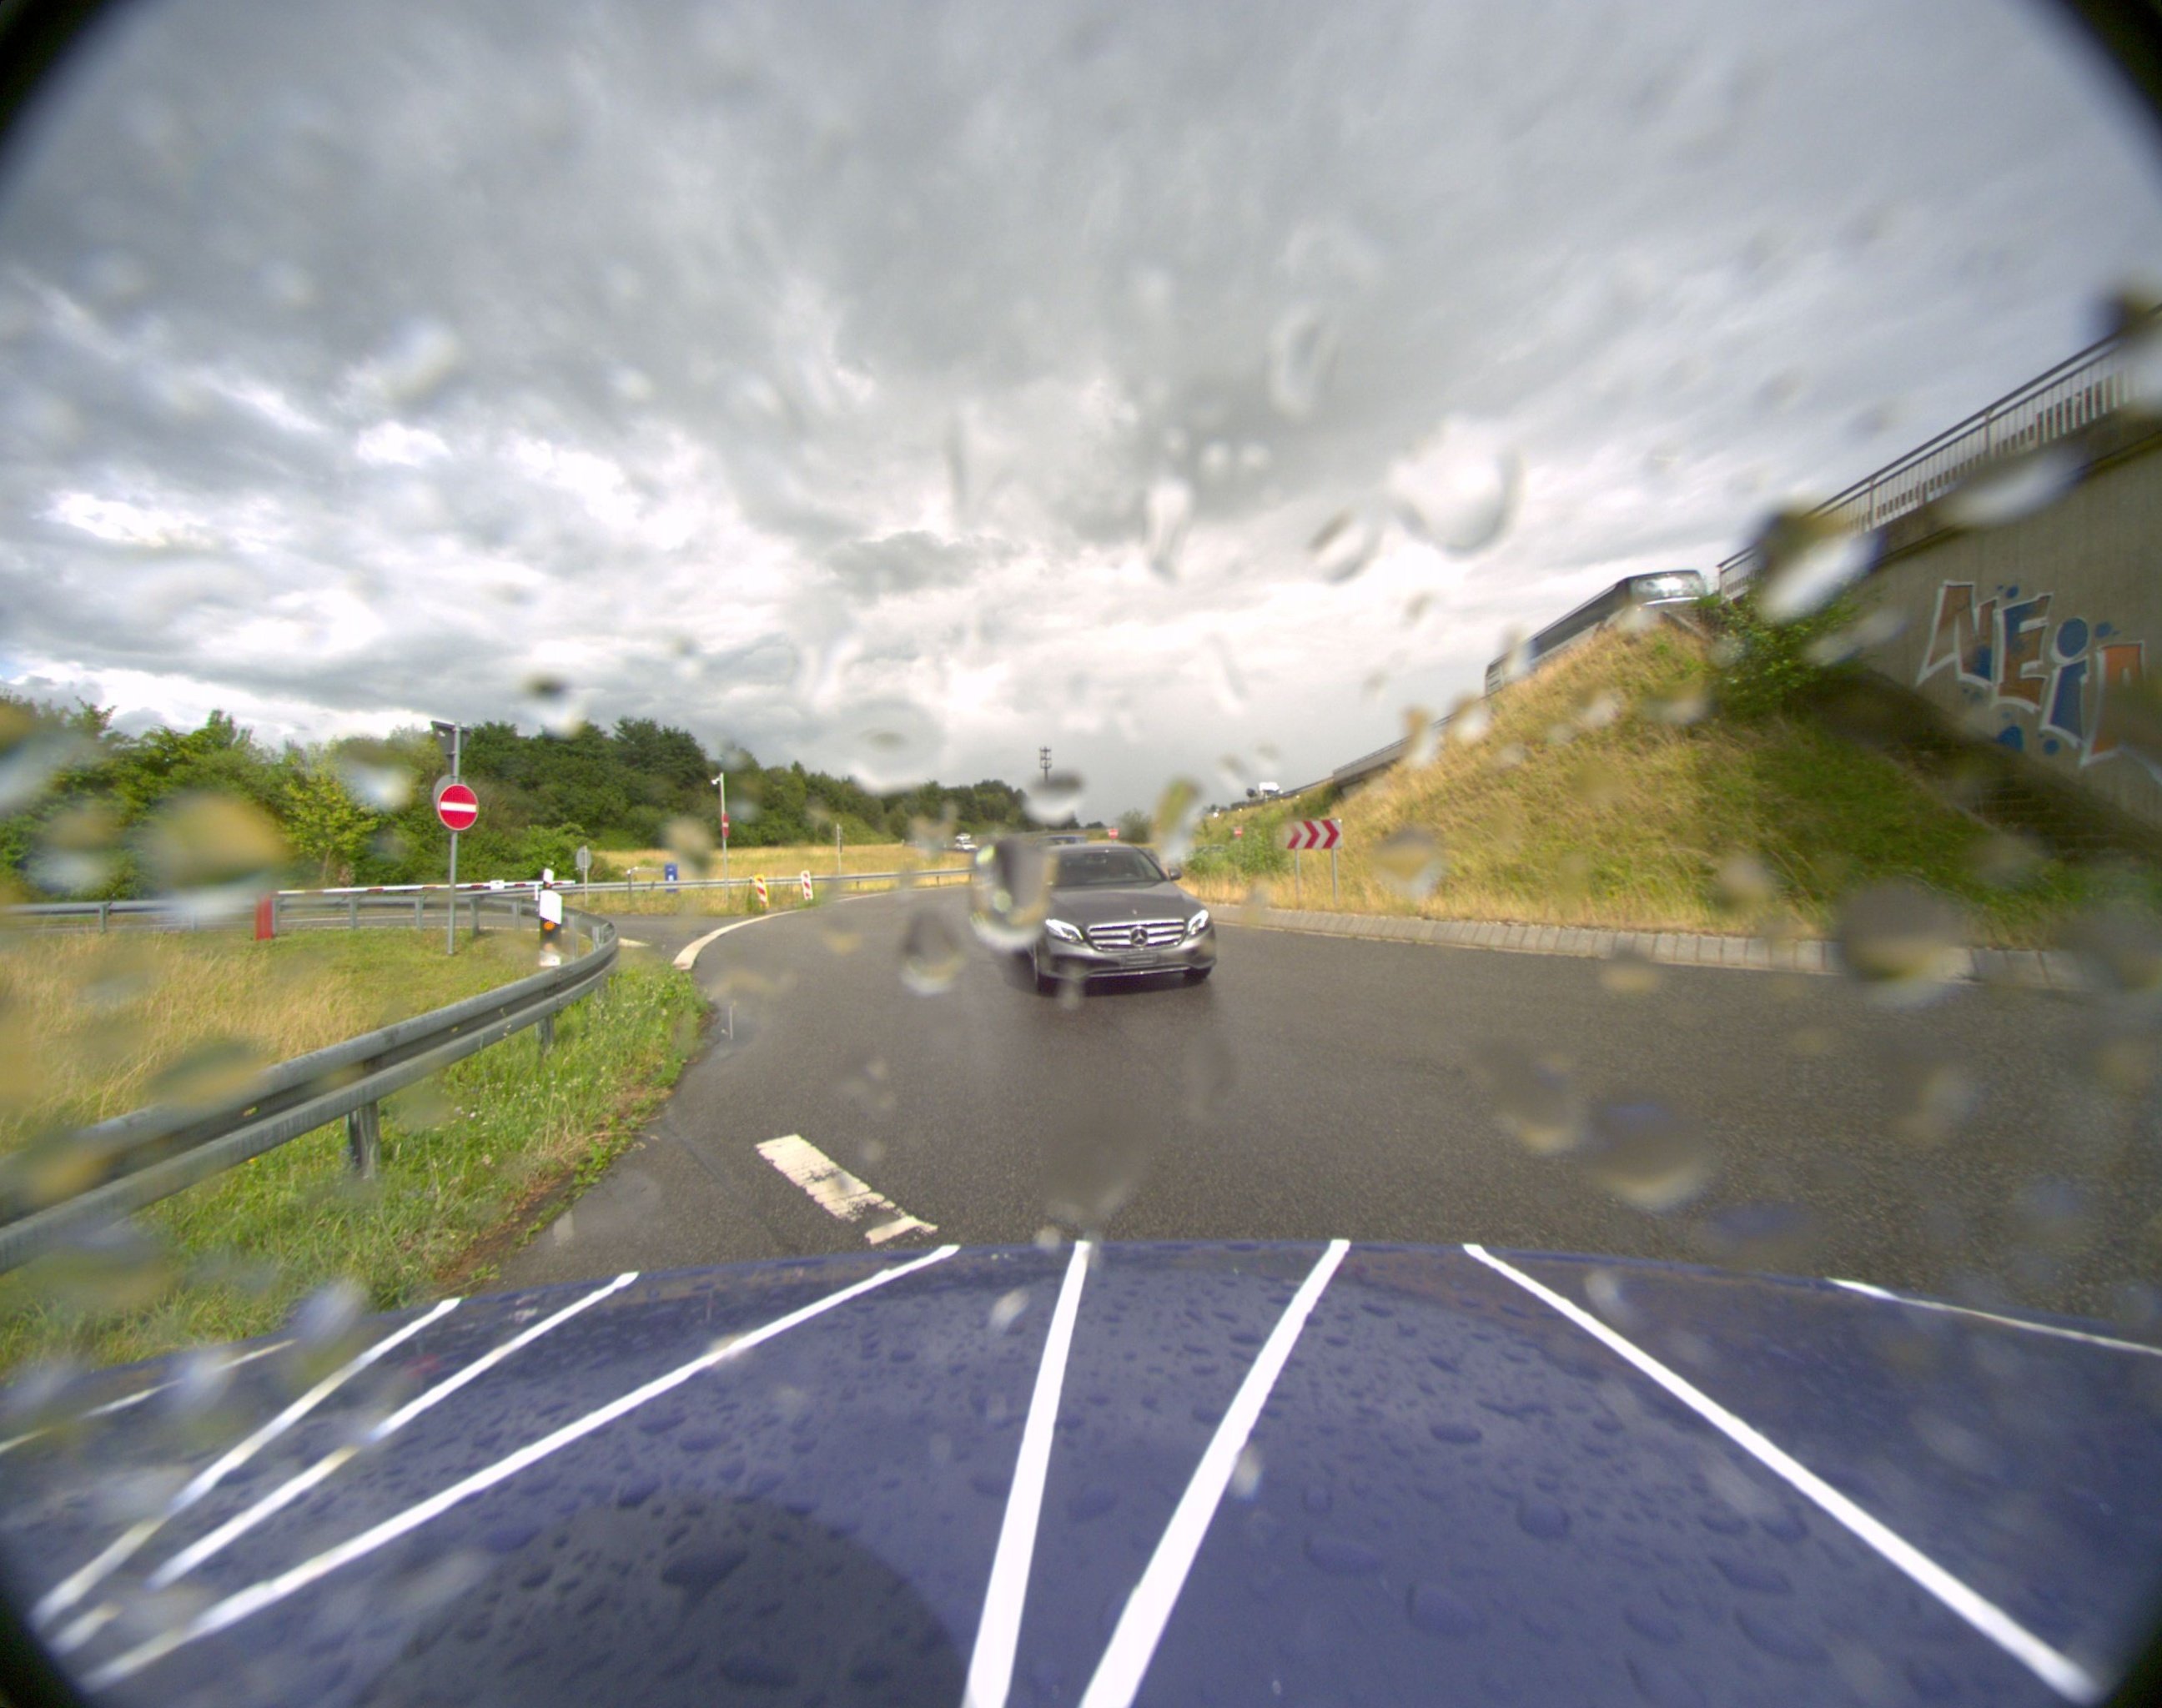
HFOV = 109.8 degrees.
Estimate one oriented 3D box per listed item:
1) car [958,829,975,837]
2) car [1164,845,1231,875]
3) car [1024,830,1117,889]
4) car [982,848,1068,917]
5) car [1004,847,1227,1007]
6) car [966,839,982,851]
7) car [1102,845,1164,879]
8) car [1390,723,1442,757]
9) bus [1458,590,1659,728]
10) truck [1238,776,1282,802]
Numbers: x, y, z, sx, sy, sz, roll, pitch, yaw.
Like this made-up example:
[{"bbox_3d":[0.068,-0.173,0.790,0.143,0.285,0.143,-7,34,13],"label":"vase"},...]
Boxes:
[{"bbox_3d":[-24.326,-4.471,161.421,1.764,1.634,3.898,-3,2,19],"label":"car"},{"bbox_3d":[6.486,0.307,42.061,3.936,1.528,1.568,-2,1,-44],"label":"car"},{"bbox_3d":[-0.252,0.130,29.687,1.890,1.904,5.687,-3,2,17],"label":"car"},{"bbox_3d":[-1.448,0.584,18.144,1.798,1.390,4.345,0,1,-7],"label":"car"},{"bbox_3d":[0.112,0.667,9.275,1.772,1.383,4.587,-2,0,-9],"label":"car"},{"bbox_3d":[-13.954,-1.177,99.455,1.977,1.528,3.926,-1,1,-6],"label":"car"},{"bbox_3d":[2.460,0.334,35.284,1.771,1.476,3.839,-1,1,21],"label":"car"},{"bbox_3d":[23.880,-8.098,54.361,1.712,1.518,4.493,-12,1,4],"label":"car"},{"bbox_3d":[21.561,-8.504,35.829,2.609,3.062,14.470,-3,1,10],"label":"bus"},{"bbox_3d":[26.977,-9.775,115.006,3.161,3.176,9.271,-3,1,-8],"label":"truck"}]
